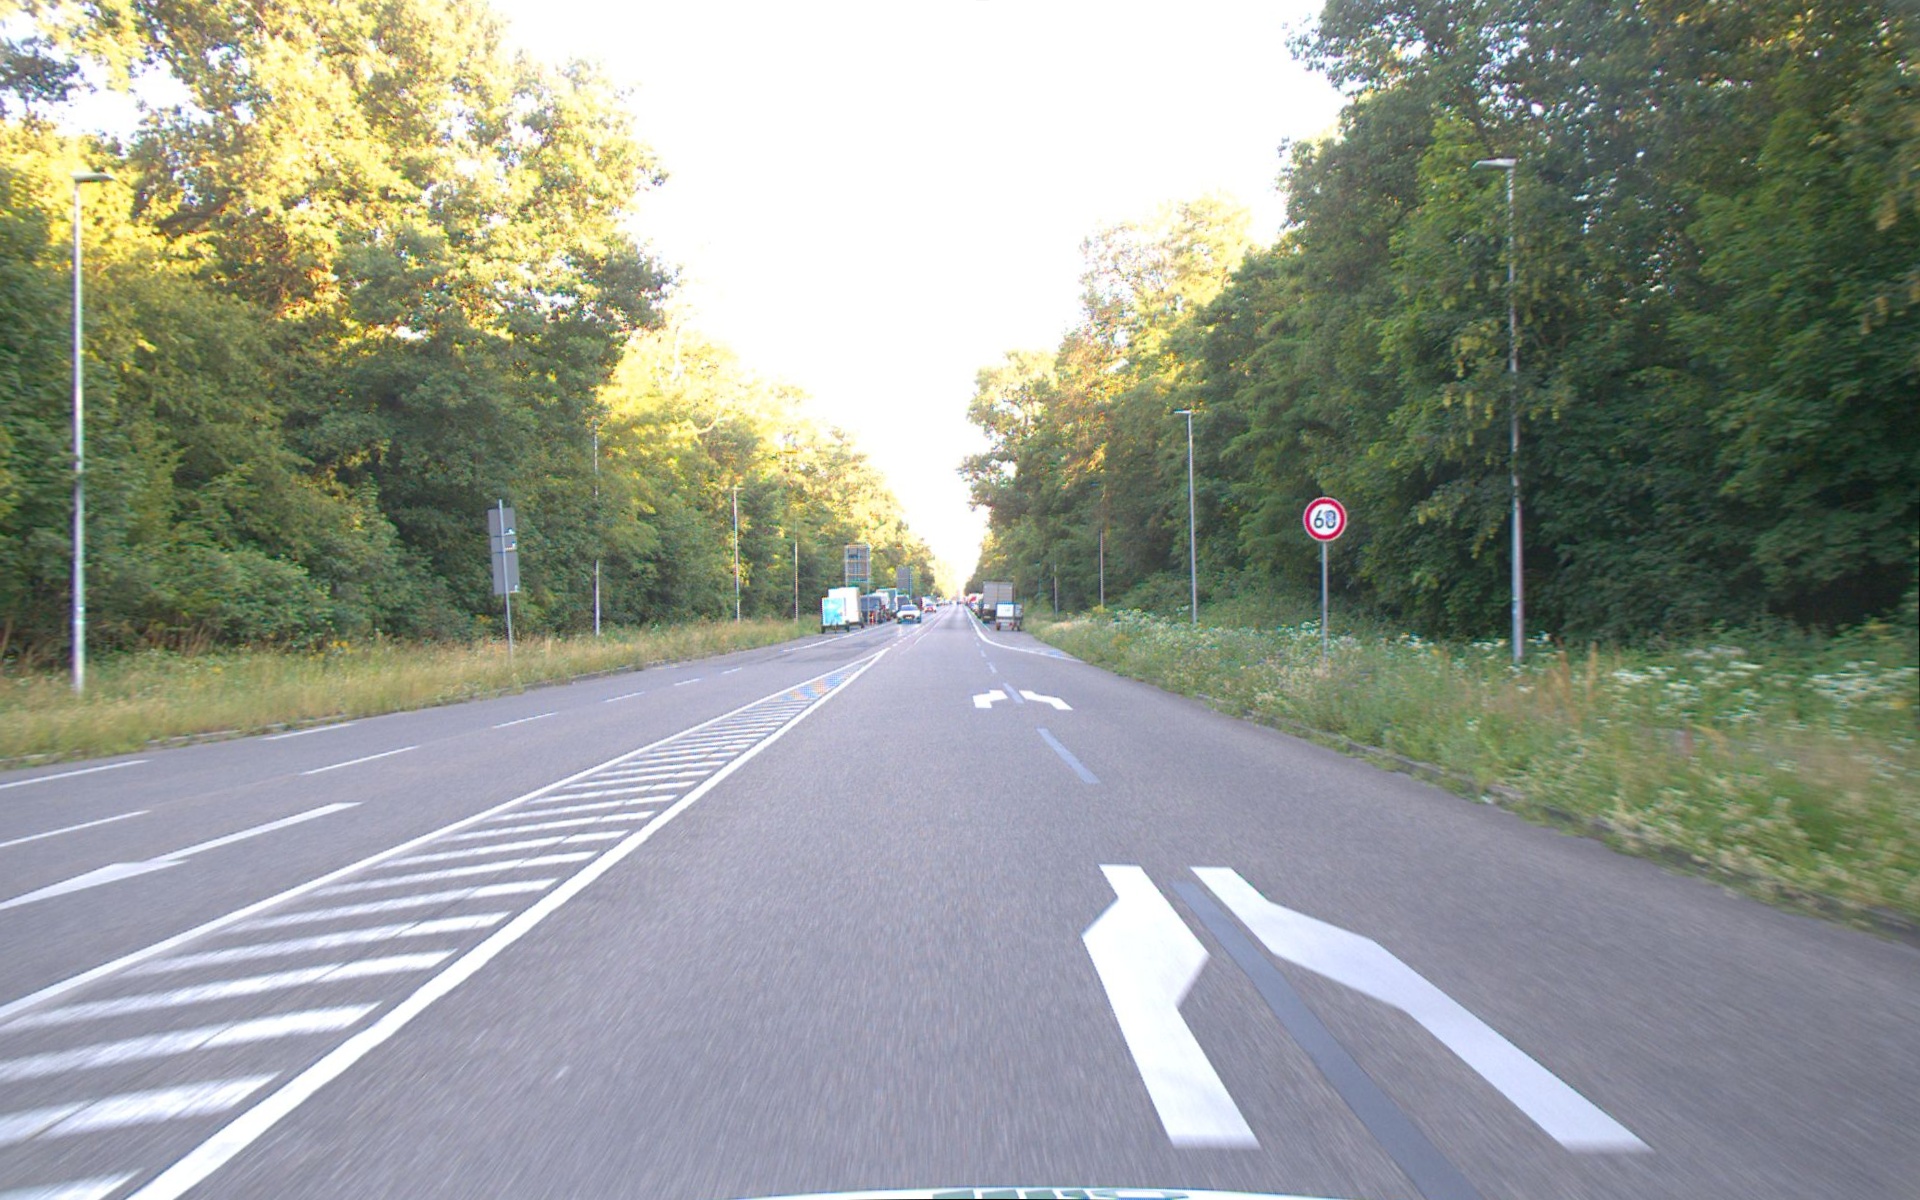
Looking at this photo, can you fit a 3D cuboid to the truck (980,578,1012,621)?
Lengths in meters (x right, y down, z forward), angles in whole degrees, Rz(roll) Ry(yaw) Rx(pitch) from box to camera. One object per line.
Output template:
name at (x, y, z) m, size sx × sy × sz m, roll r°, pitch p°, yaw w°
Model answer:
truck at (2.877, -0.037, 132.460) m, size 2.535 × 3.312 × 7.221 m, roll 0°, pitch 0°, yaw 1°

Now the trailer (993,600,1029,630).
trailer at (3.075, 0.894, 99.879) m, size 1.425 × 1.691 × 3.780 m, roll -2°, pitch 0°, yaw 13°

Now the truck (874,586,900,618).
truck at (-8.088, 0.242, 184.255) m, size 2.453 × 3.387 × 6.841 m, roll -2°, pitch 0°, yaw 0°

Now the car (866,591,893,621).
car at (-7.698, 0.566, 158.681) m, size 2.203 × 2.694 × 5.721 m, roll -2°, pitch 0°, yaw 0°

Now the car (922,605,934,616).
car at (-4.722, 1.582, 242.325) m, size 1.649 × 1.512 × 4.035 m, roll -2°, pitch 0°, yaw -2°

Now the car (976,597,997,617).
car at (2.659, 0.710, 166.360) m, size 1.953 × 1.989 × 4.297 m, roll 0°, pitch 0°, yaw -2°

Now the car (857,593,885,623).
car at (-7.583, 0.674, 141.335) m, size 1.953 × 2.405 × 5.765 m, roll -3°, pitch 0°, yaw 0°

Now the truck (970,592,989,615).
truck at (2.335, 0.403, 197.909) m, size 2.098 × 2.706 × 4.297 m, roll 0°, pitch 0°, yaw -2°

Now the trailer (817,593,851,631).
trailer at (-7.609, 0.734, 100.211) m, size 1.780 × 2.205 × 4.142 m, roll -2°, pitch 0°, yaw -1°

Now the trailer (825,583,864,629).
trailer at (-8.039, 0.419, 115.818) m, size 2.279 × 2.975 × 5.626 m, roll -3°, pitch 0°, yaw -1°

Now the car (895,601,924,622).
car at (-4.137, 0.921, 135.377) m, size 2.021 × 1.460 × 4.467 m, roll -3°, pitch 1°, yaw 2°

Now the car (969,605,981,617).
car at (1.833, 1.314, 205.283) m, size 1.125 × 1.272 × 2.753 m, roll -9°, pitch 1°, yaw -2°
